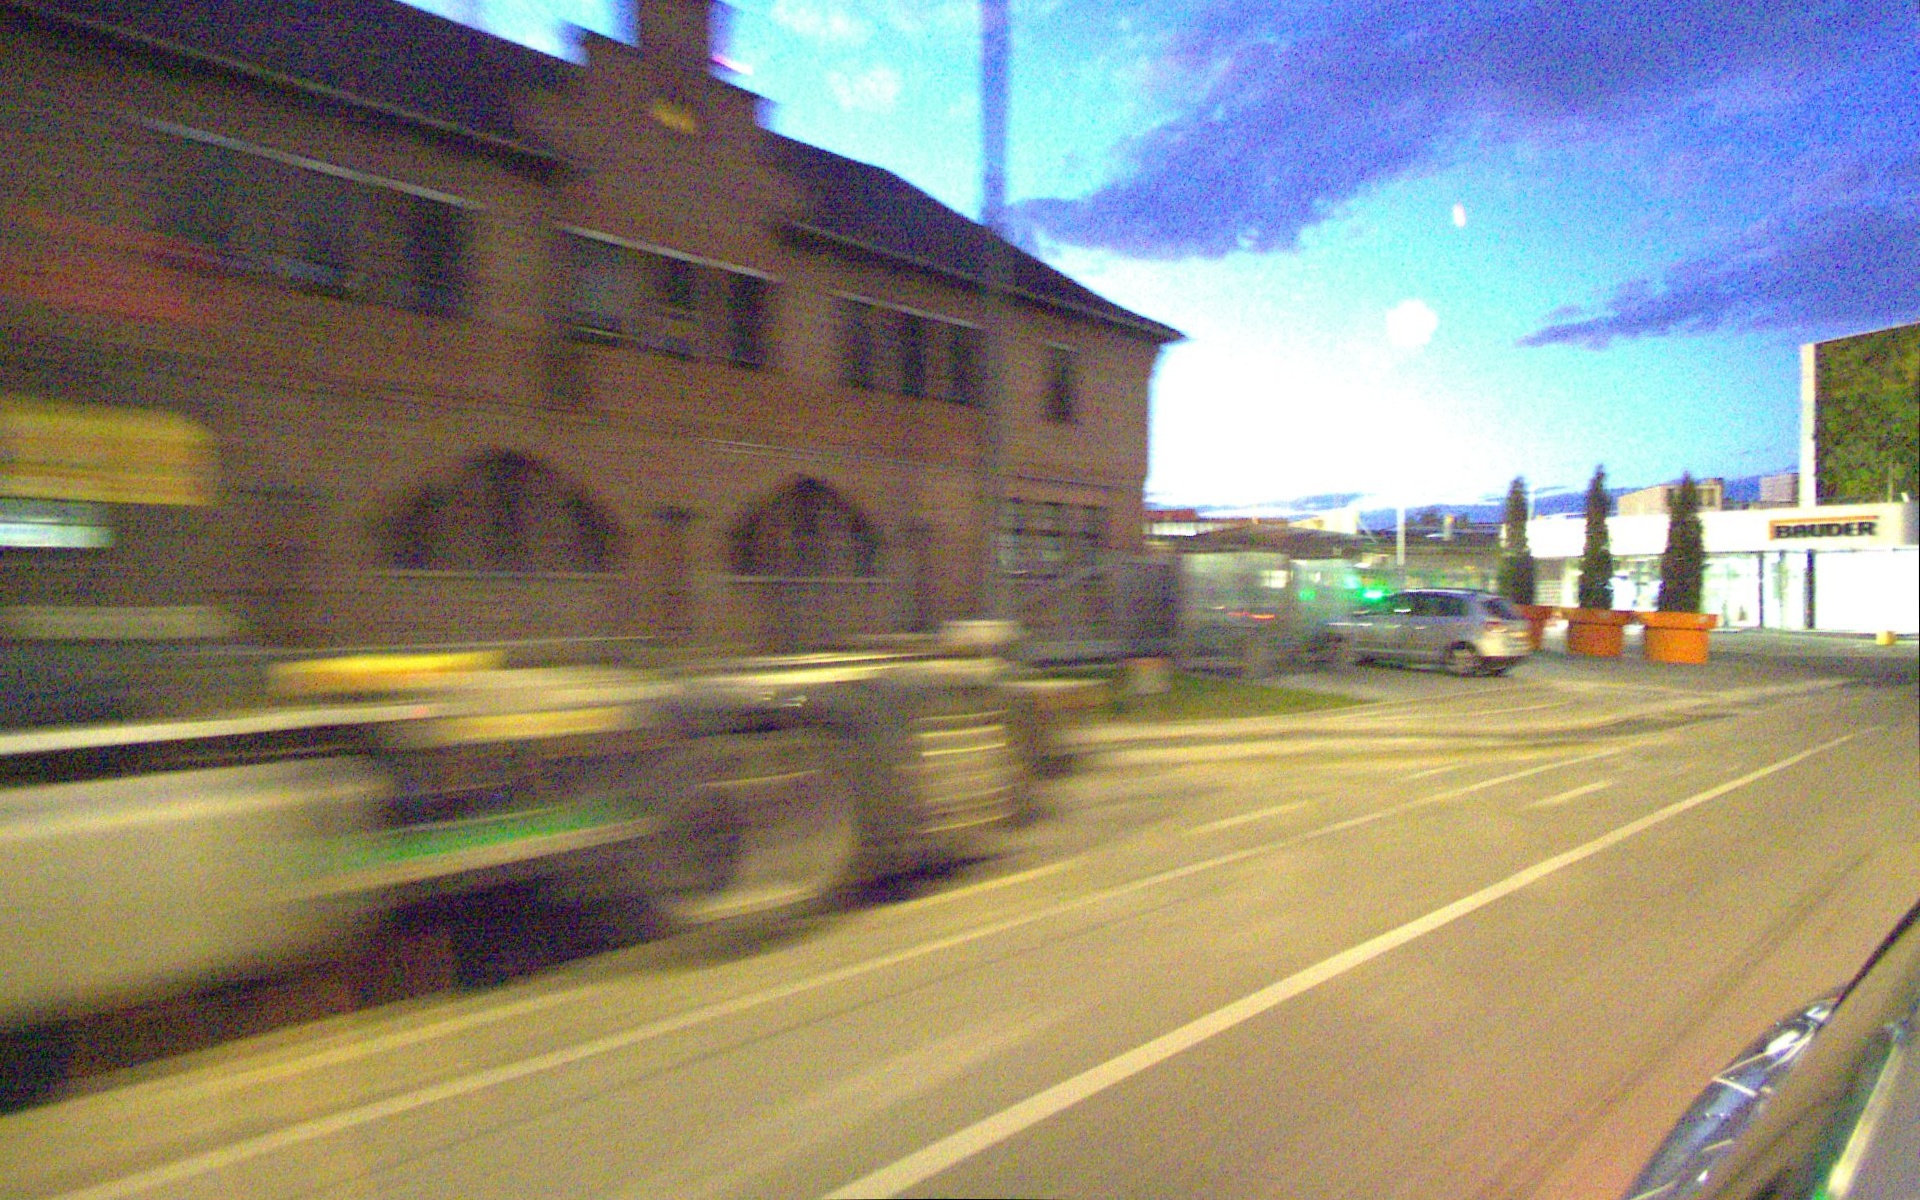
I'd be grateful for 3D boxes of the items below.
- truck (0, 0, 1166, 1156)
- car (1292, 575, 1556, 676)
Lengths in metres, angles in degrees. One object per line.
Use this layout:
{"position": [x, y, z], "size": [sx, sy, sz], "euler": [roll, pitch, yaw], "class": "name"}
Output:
{"position": [-3.038, -0.478, 4.001], "size": [8.979, 3.831, 2.759], "euler": [0, 0, -42], "class": "truck"}
{"position": [9.059, 0.423, 20.046], "size": [1.860, 1.666, 4.333], "euler": [1, 2, -42], "class": "car"}
